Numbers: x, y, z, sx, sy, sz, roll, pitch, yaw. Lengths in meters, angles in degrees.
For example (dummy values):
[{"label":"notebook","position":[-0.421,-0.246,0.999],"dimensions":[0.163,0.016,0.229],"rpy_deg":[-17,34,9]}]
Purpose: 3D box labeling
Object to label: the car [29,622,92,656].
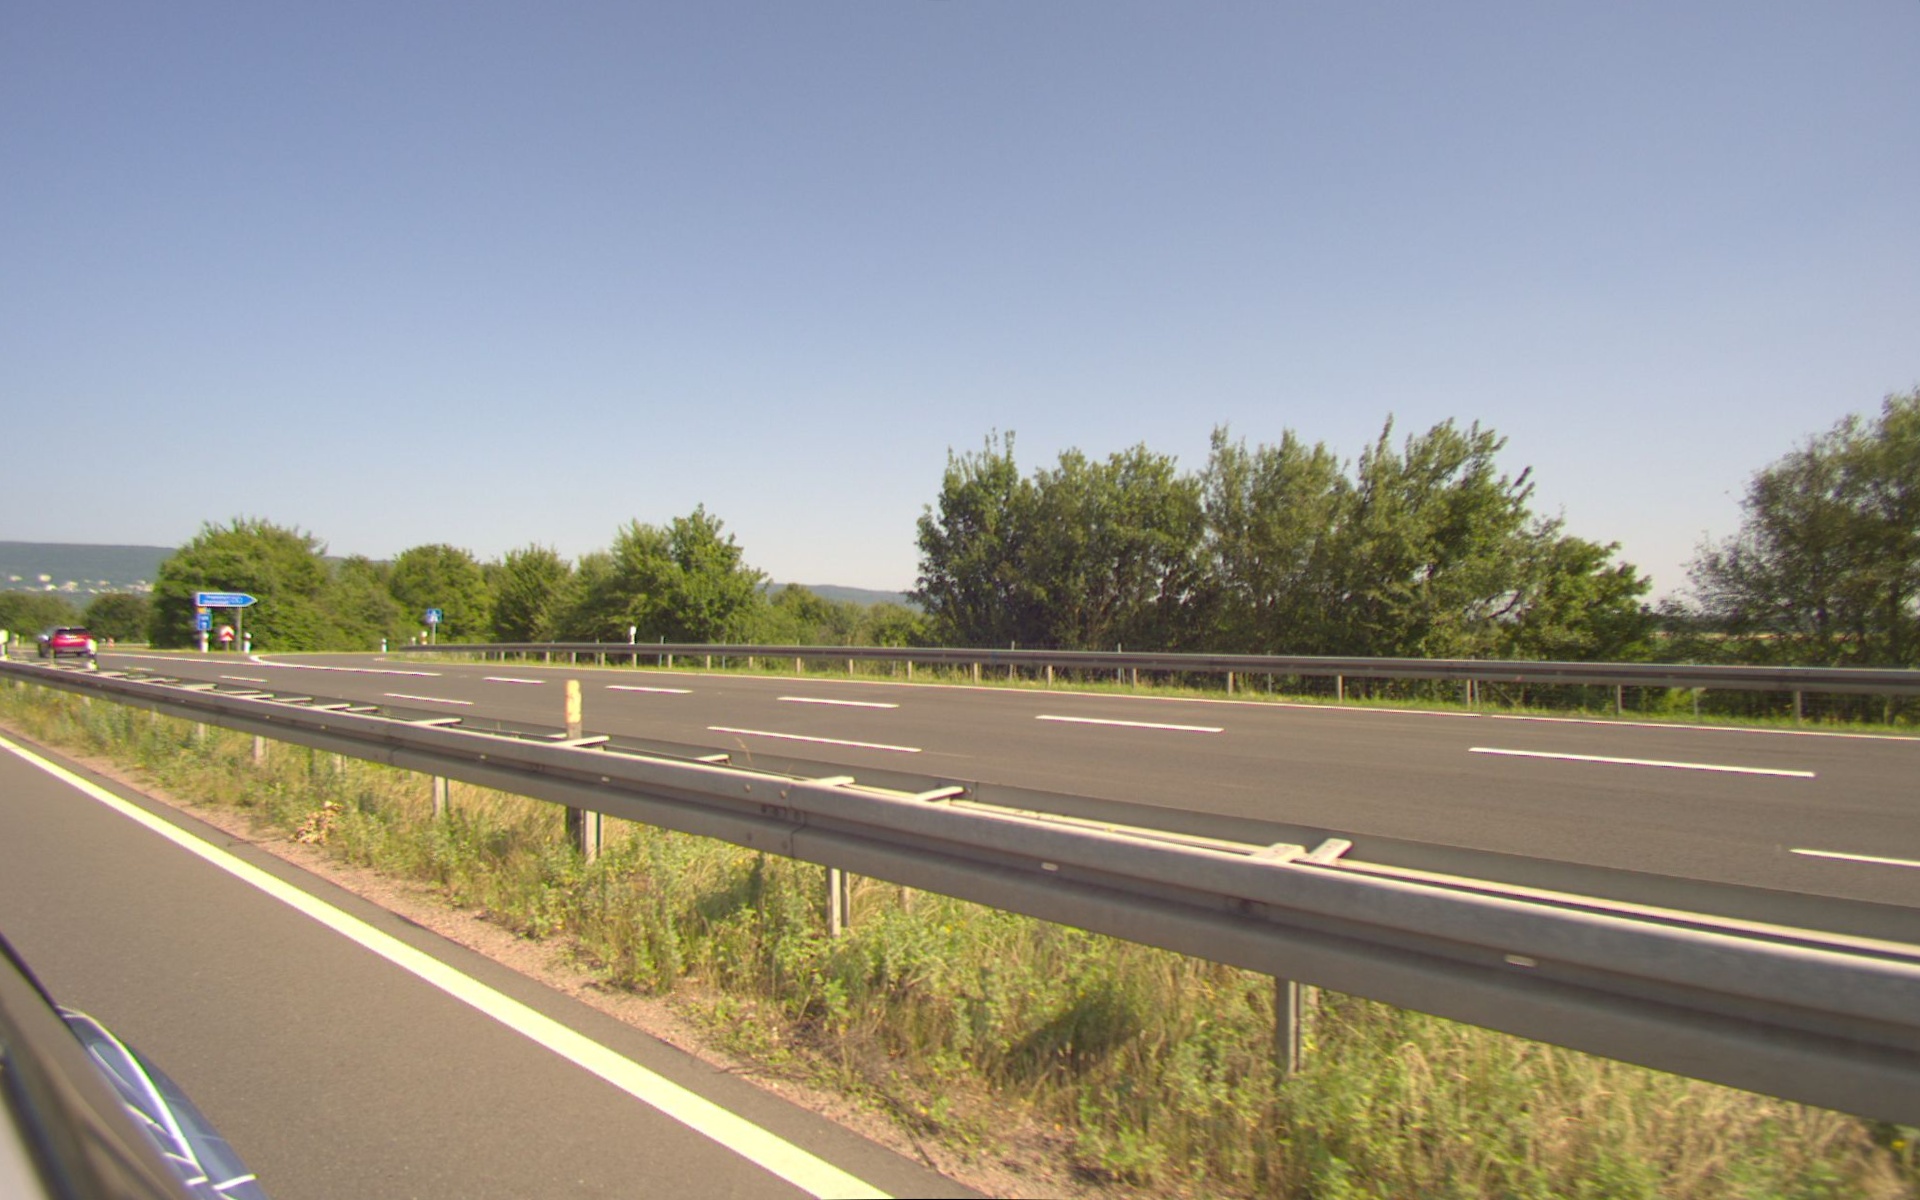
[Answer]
[{"label":"car","position":[-44.632,1.891,50.202],"dimensions":[4.259,1.586,1.626],"rpy_deg":[-1,0,39]}]
